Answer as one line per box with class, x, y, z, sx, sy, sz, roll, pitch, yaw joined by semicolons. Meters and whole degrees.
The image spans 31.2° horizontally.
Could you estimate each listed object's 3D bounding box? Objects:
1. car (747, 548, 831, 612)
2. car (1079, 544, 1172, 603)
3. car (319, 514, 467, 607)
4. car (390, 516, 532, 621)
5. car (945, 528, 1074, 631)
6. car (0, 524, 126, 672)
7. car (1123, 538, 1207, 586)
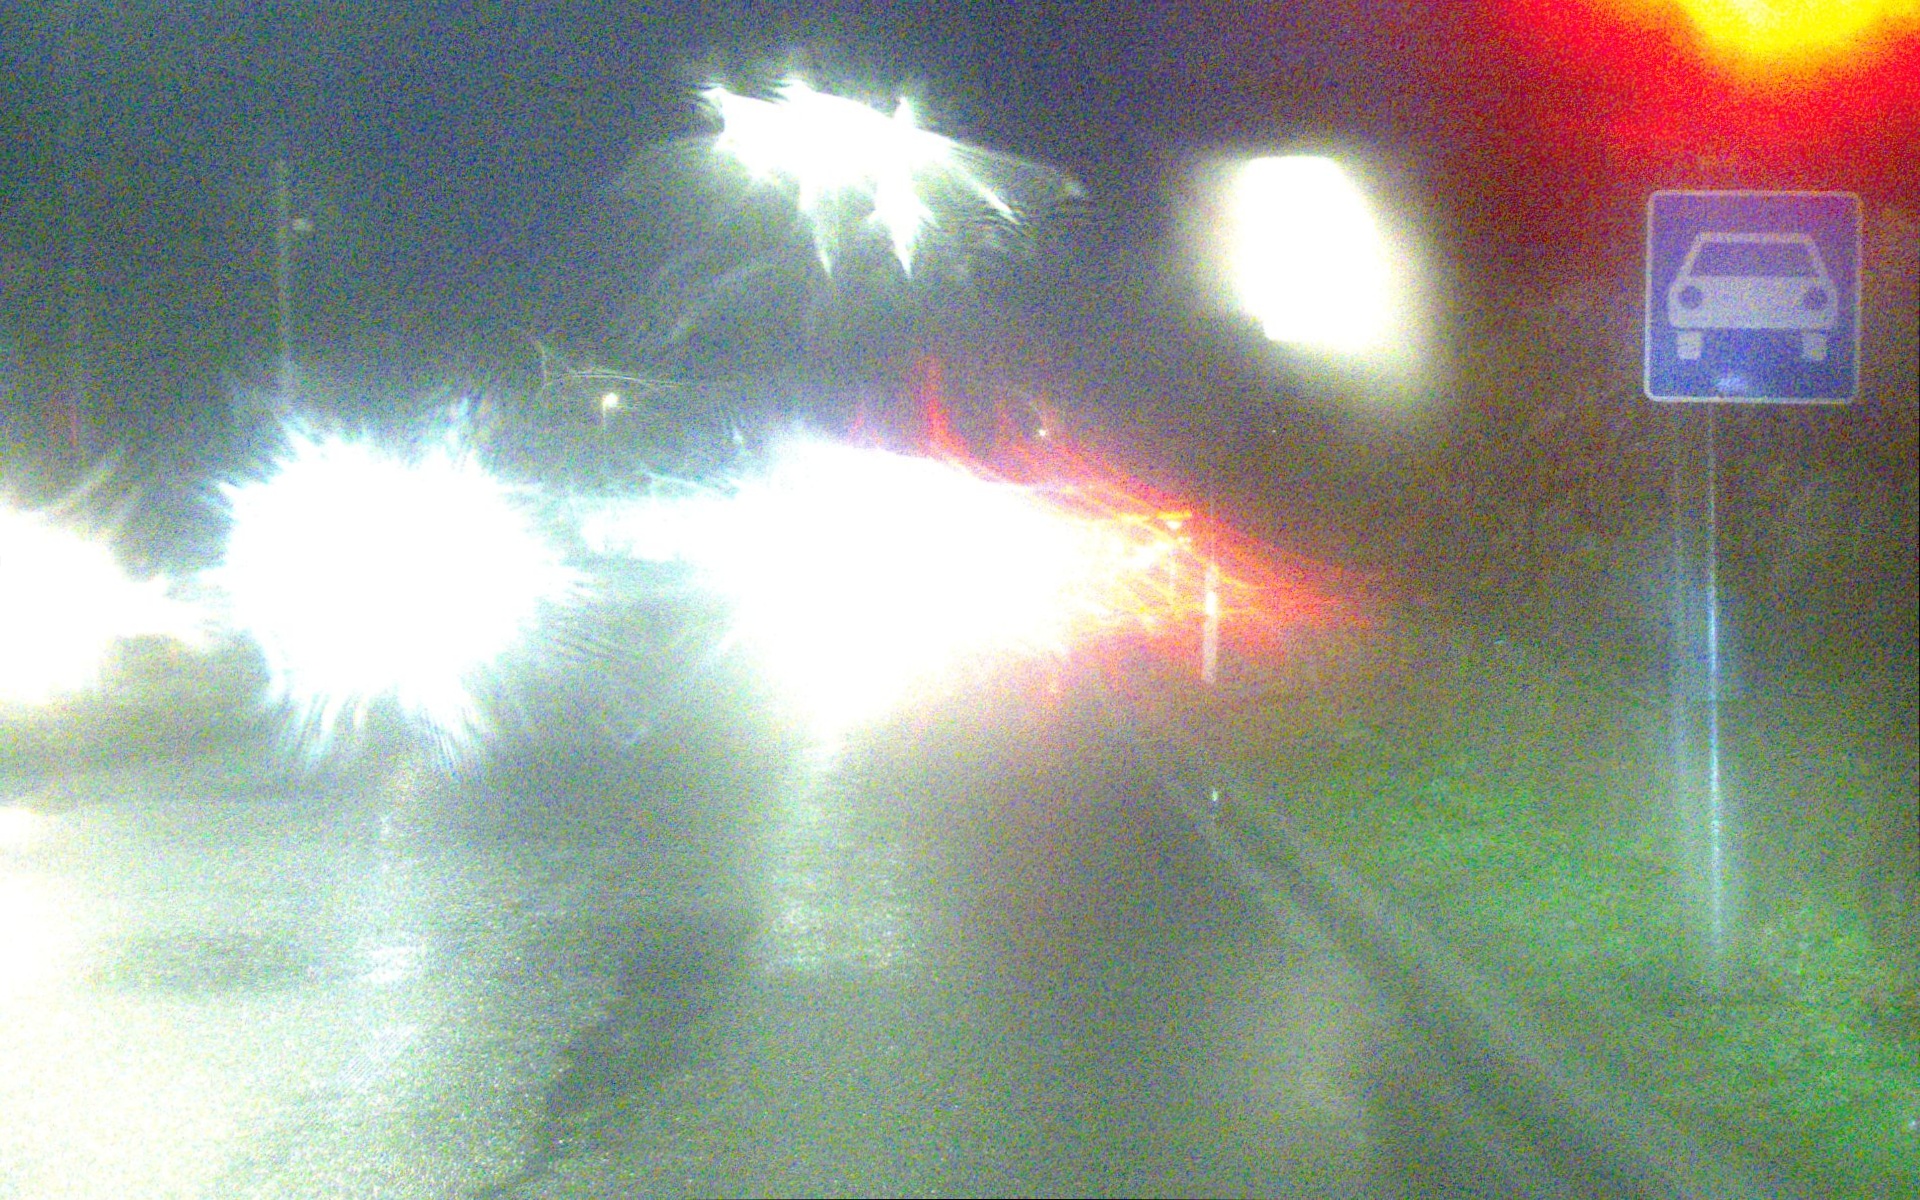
car;-4.145;-0.480;83.865;1.708;1.529;4.600;0;0;1
car;4.101;-0.640;85.866;2.103;1.434;4.000;0;0;0
car;-10.740;-0.728;65.399;1.994;1.714;4.000;0;0;3
car;-8.341;-0.529;57.799;1.717;1.697;4.143;0;0;1
car;0.766;-0.324;55.985;1.993;1.605;4.103;0;0;0
car;-10.376;-0.022;37.268;1.585;1.520;3.651;0;0;3
car;5.838;-1.082;98.332;2.107;1.335;4.294;0;0;0
